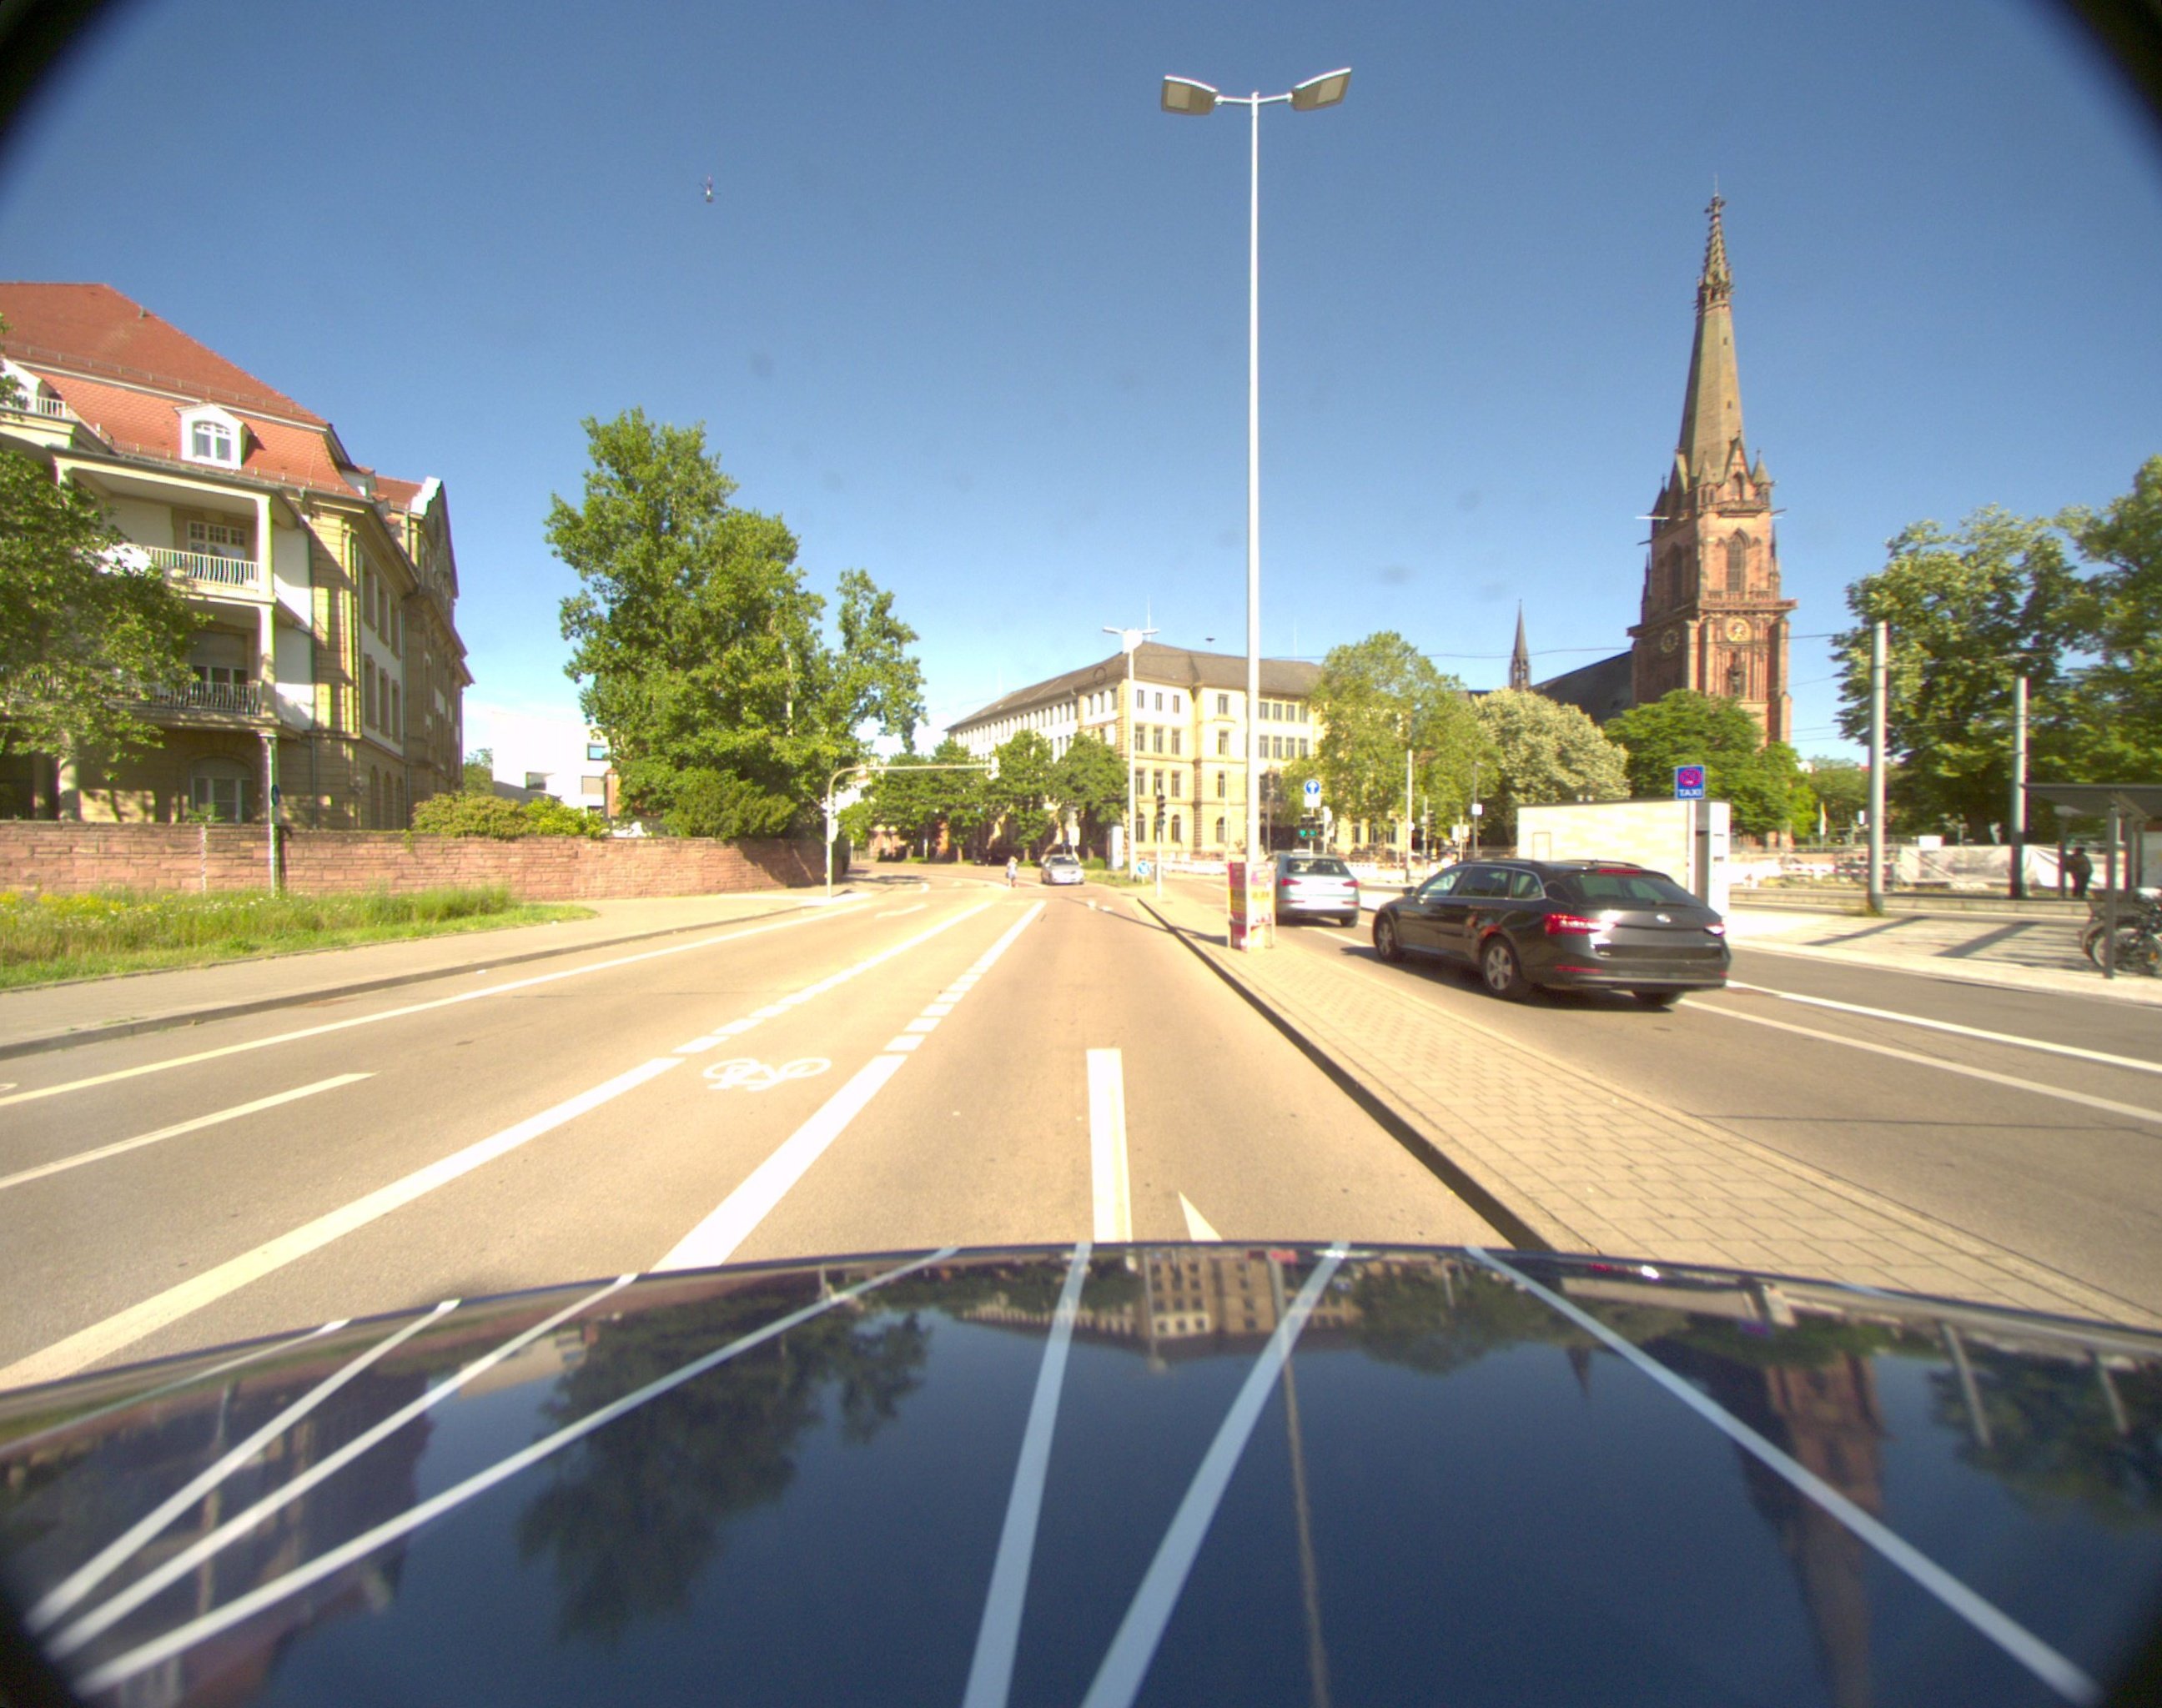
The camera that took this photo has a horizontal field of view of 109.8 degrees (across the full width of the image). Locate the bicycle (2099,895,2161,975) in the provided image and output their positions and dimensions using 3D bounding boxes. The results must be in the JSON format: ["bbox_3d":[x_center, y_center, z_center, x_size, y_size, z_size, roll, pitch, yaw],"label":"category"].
[{"bbox_3d":[15.200,1.133,10.281,0.458,1.055,1.667,-1,1,-33],"label":"bicycle"}]

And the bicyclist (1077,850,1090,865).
[{"bbox_3d":[0.233,0.325,69.591,0.893,1.377,0.735,1,1,44],"label":"bicyclist"}]

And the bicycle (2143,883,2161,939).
[{"bbox_3d":[20.487,1.062,13.612,0.458,1.003,1.667,-1,1,-33],"label":"bicycle"}]

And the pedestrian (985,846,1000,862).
[{"bbox_3d":[-10.224,0.033,88.008,0.934,1.812,1.394,1,1,45],"label":"pedestrian"}]

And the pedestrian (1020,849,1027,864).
[{"bbox_3d":[-6.709,0.276,88.651,0.677,1.714,0.588,-1,2,-22],"label":"pedestrian"}]

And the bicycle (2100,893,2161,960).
[{"bbox_3d":[17.259,1.146,11.656,0.458,1.003,1.899,-1,1,-33],"label":"bicycle"}]

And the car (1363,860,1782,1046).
[{"bbox_3d":[5.059,0.872,8.798,1.793,1.490,4.574,1,1,-1],"label":"car"}]

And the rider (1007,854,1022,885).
[{"bbox_3d":[-3.499,0.801,39.892,0.658,1.610,0.989,-1,1,1],"label":"rider"}]

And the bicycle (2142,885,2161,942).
[{"bbox_3d":[19.894,1.074,13.201,0.458,1.003,1.667,-1,1,-33],"label":"bicycle"}]

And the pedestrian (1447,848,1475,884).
[{"bbox_3d":[18.823,0.593,37.620,0.977,1.769,0.803,0,1,-1],"label":"pedestrian"}]

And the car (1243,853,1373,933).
[{"bbox_3d":[4.953,0.774,17.214,1.859,1.533,4.241,1,1,3],"label":"car"}]

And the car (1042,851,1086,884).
[{"bbox_3d":[-0.966,0.663,40.503,1.707,1.657,3.910,-1,1,-11],"label":"car"}]

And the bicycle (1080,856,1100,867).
[{"bbox_3d":[0.843,0.730,70.738,1.830,0.985,0.735,0,1,44],"label":"bicycle"}]

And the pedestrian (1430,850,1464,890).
[{"bbox_3d":[16.551,0.727,34.398,0.977,1.769,1.131,0,1,-1],"label":"pedestrian"}]

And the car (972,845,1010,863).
[{"bbox_3d":[-10.731,-0.037,90.761,1.994,2.002,4.721,0,1,32],"label":"car"}]

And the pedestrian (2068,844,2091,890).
[{"bbox_3d":[37.570,0.498,28.580,0.404,1.711,0.419,1,1,38],"label":"pedestrian"}]

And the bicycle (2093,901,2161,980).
[{"bbox_3d":[14.699,1.170,9.966,0.458,1.003,1.667,-1,1,-33],"label":"bicycle"}]

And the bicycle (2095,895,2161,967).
[{"bbox_3d":[16.072,1.152,10.978,0.458,1.003,1.667,-1,1,-33],"label":"bicycle"}]

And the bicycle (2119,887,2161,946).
[{"bbox_3d":[19.127,1.097,12.950,0.458,1.003,1.667,-1,1,-33],"label":"bicycle"}]

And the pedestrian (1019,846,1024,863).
[{"bbox_3d":[-6.932,0.052,88.647,0.522,1.882,0.360,-1,1,-33],"label":"pedestrian"}]

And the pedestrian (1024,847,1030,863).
[{"bbox_3d":[-6.349,0.057,88.992,0.522,1.865,0.360,-1,1,-33],"label":"pedestrian"}]

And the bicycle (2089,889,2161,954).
[{"bbox_3d":[17.913,1.126,12.429,0.458,1.003,1.667,-1,1,-33],"label":"bicycle"}]
